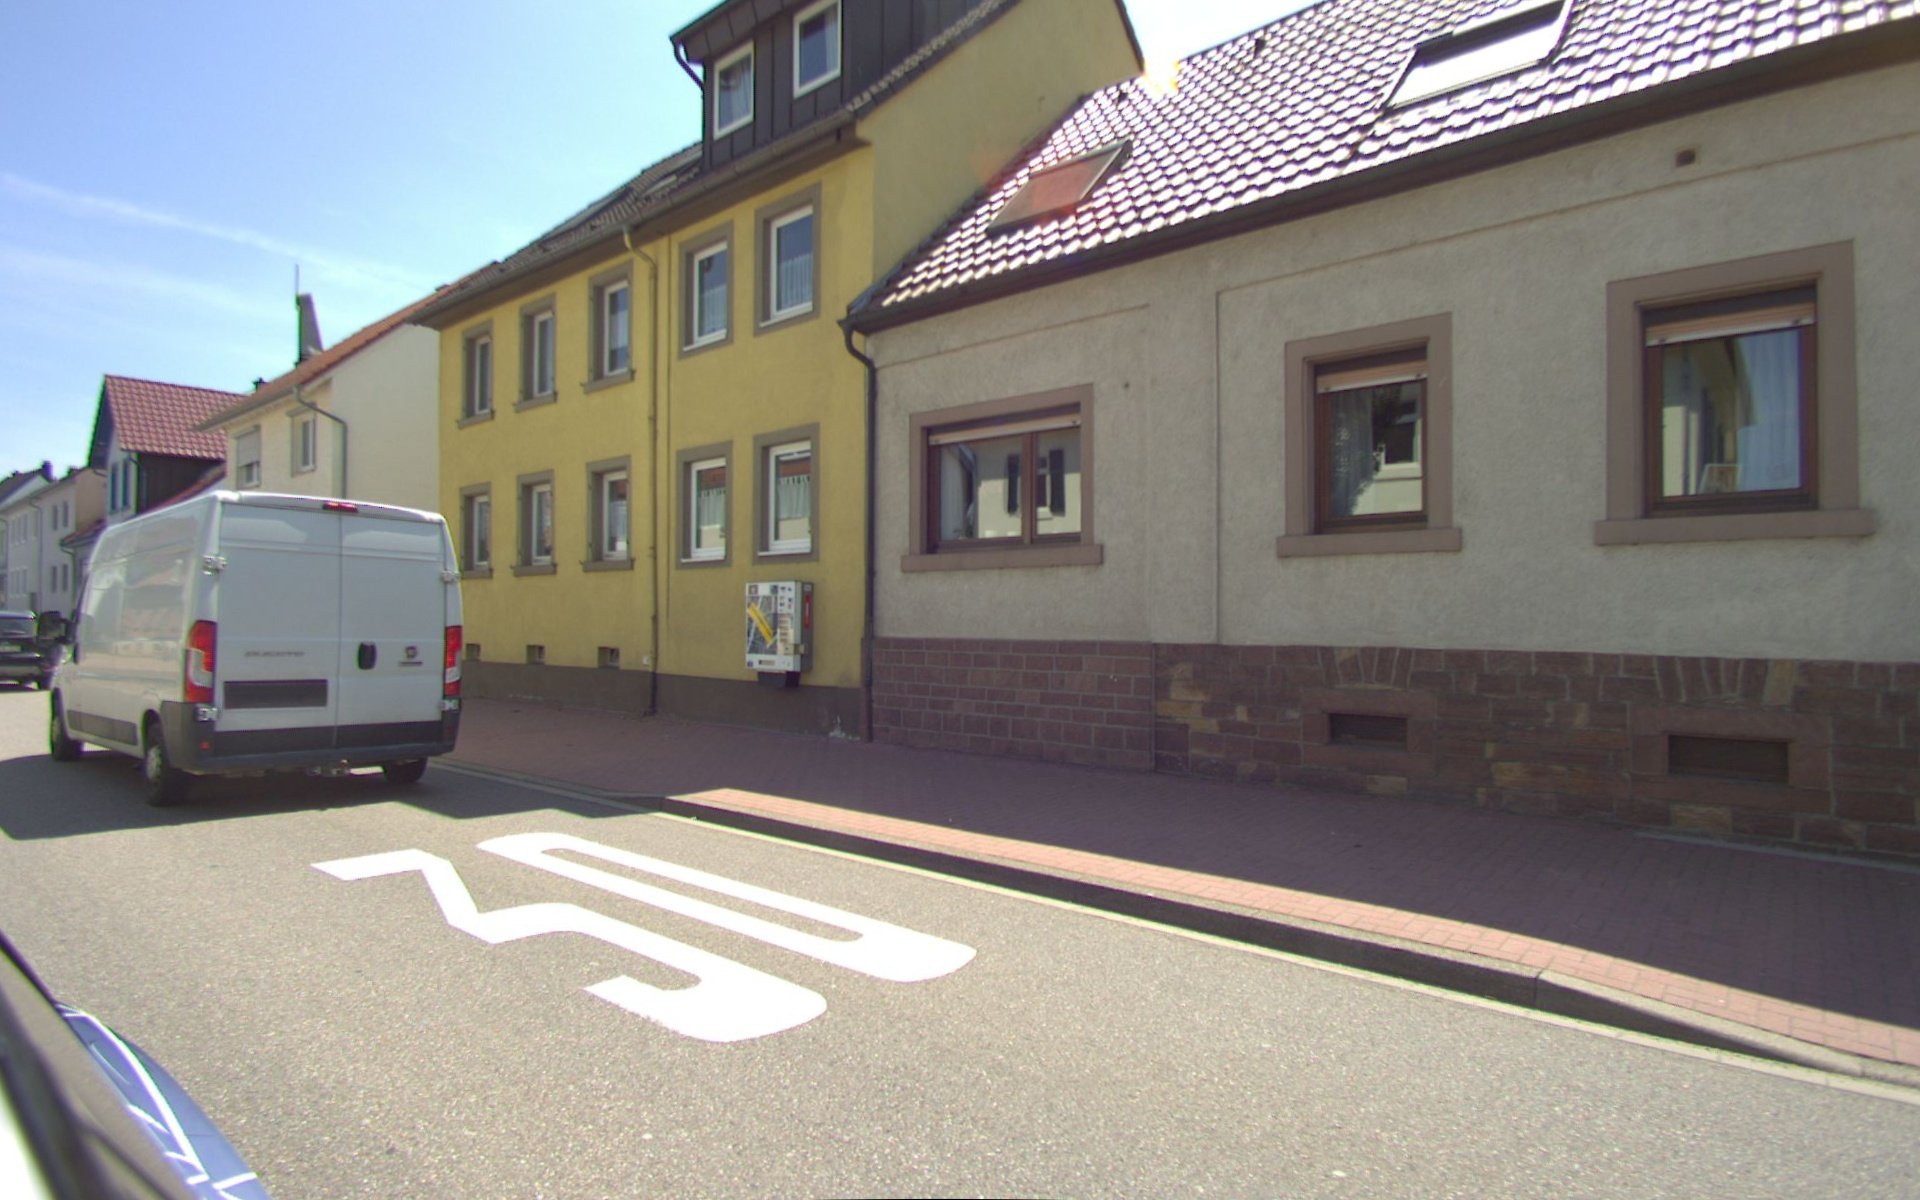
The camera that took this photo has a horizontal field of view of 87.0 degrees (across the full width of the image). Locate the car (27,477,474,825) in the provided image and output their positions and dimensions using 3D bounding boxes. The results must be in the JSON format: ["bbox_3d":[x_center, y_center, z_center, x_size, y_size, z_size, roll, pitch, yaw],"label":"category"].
[{"bbox_3d":[-7.196,0.431,9.923,6.002,2.474,2.048,-1,-3,40],"label":"car"}]

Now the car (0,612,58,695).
[{"bbox_3d":[-21.153,1.107,21.898,4.320,1.682,1.820,-1,-3,40],"label":"car"}]
